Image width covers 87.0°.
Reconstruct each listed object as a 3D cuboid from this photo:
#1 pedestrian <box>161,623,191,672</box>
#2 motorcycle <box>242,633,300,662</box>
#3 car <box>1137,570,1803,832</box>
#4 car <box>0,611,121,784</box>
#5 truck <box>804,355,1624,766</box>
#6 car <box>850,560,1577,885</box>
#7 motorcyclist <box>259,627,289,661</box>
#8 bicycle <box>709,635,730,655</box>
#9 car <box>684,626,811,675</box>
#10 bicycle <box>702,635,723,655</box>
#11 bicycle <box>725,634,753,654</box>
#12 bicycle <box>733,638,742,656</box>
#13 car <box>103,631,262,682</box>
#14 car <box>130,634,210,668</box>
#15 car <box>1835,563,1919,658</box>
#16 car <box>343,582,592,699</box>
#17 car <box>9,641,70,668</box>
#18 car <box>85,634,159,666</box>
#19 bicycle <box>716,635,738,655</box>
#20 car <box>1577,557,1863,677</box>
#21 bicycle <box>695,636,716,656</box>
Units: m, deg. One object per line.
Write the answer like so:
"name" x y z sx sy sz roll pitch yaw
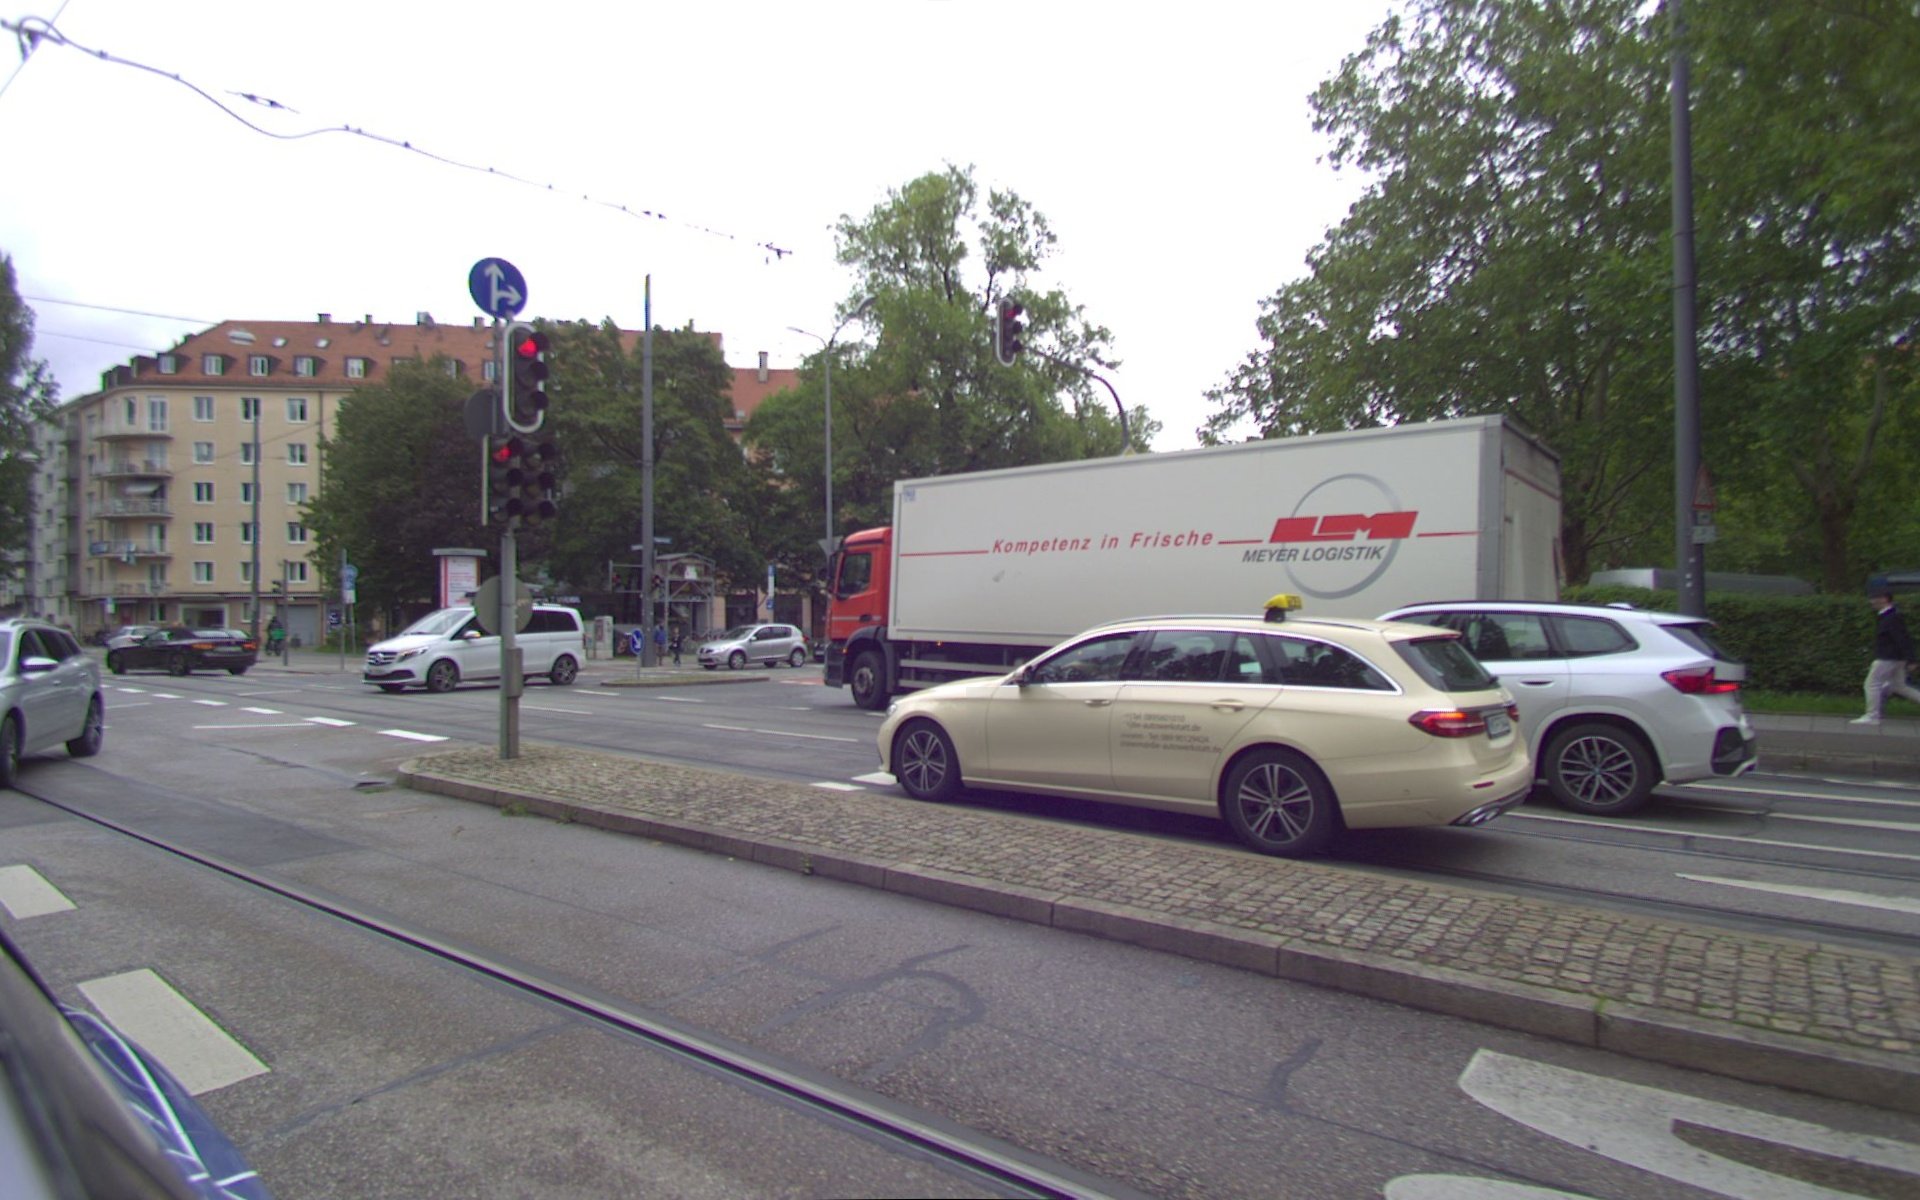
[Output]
"pedestrian" -27.408 1.658 35.370 0.543 1.675 0.703 -2 -2 -9
"motorcycle" -30.195 2.074 44.358 1.999 1.178 0.631 0 5 -3
"car" 4.179 0.721 8.880 4.887 1.696 1.895 -2 -2 40
"car" -9.854 0.931 9.742 1.745 1.536 4.222 -1 -2 -25
"truck" 2.523 -0.221 14.799 11.713 4.011 2.710 -2 -3 42
"car" 1.536 0.688 7.437 4.887 1.651 1.803 -2 -2 40
"motorcyclist" -30.098 1.937 44.427 0.869 1.454 0.621 -1 -1 -3
"bicycle" -11.342 2.118 47.638 0.308 0.901 1.414 0 -3 -42
"car" -7.187 1.693 34.580 1.772 1.536 4.159 -3 -3 34
"bicycle" -11.600 2.129 47.409 0.308 0.901 1.414 0 -3 -42
"bicycle" -10.563 2.117 48.319 1.405 0.901 0.310 -3 -3 27
"bicycle" -11.493 2.415 52.254 0.308 0.901 1.416 -2 -2 -15
"car" -23.135 1.660 30.093 4.770 1.400 1.715 -1 -2 25
"car" -34.983 2.210 44.764 4.367 1.418 1.709 -2 -2 37
"car" 27.657 0.202 27.319 5.865 2.554 1.971 -4 -3 44
"car" -10.995 0.880 23.008 1.906 2.369 4.895 -1 -2 29
"car" -51.805 3.034 56.923 4.467 1.418 1.709 -2 -2 37
"car" -39.543 2.340 47.727 4.367 1.418 1.709 -2 -2 37
"bicycle" -11.040 2.125 47.928 0.308 0.901 1.414 0 -3 -42
"car" 15.626 0.382 20.919 4.556 2.029 2.003 4 -3 -7
"bicycle" -11.860 2.132 47.190 0.308 0.901 1.414 0 -3 -42
